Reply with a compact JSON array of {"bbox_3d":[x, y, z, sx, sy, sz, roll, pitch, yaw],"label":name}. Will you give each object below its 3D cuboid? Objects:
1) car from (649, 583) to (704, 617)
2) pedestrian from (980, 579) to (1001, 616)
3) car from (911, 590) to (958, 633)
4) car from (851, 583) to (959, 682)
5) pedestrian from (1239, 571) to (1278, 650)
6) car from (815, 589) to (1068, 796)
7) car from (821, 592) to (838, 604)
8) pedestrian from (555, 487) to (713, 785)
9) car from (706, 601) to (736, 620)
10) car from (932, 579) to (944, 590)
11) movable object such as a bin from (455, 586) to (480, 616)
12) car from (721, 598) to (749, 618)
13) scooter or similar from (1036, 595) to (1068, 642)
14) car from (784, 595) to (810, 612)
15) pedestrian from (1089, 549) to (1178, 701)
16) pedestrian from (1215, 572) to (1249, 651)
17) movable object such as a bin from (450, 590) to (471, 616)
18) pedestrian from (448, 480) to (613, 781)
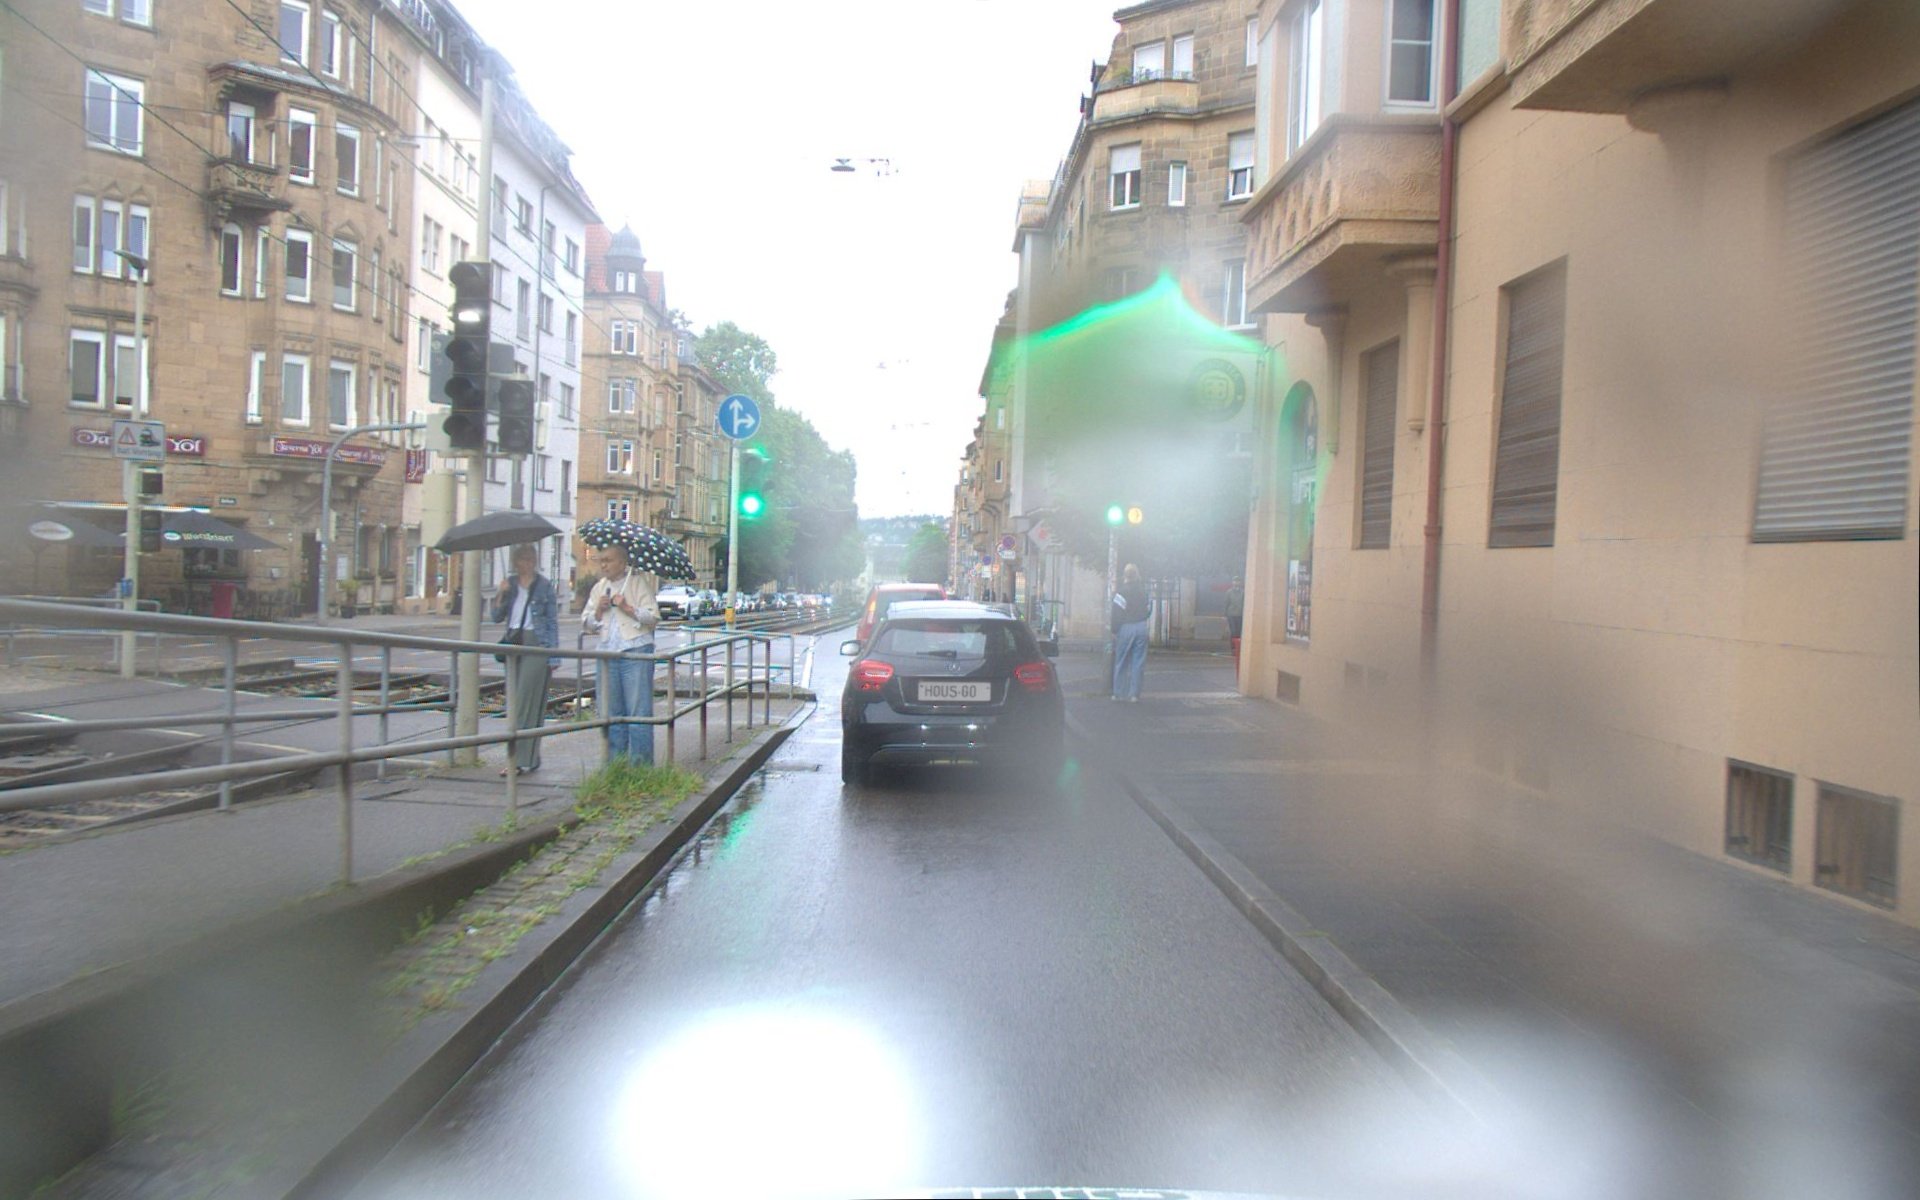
[{"bbox_3d":[-14.148,0.027,82.797,1.953,1.656,5.251,0,-1,-1],"label":"car"},{"bbox_3d":[1.487,-0.127,80.469,0.926,1.800,1.014,1,0,-3],"label":"pedestrian"},{"bbox_3d":[-0.988,0.440,64.172,1.729,1.586,4.744,0,0,-1],"label":"car"},{"bbox_3d":[-0.958,0.489,27.349,1.617,1.477,3.997,2,0,-3],"label":"car"},{"bbox_3d":[6.942,0.247,38.532,0.668,1.820,0.901,-1,0,-5],"label":"pedestrian"},{"bbox_3d":[-0.111,0.673,14.201,1.828,1.477,4.000,2,0,1],"label":"car"},{"bbox_3d":[-15.380,-0.267,194.816,1.660,1.413,3.481,0,0,1],"label":"car"},{"bbox_3d":[-2.342,0.248,12.009,0.907,2.049,0.947,2,0,-1],"label":"pedestrian"},{"bbox_3d":[-16.934,0.712,117.201,1.537,1.339,3.481,0,0,1],"label":"car"},{"bbox_3d":[-2.897,-1.965,216.126,1.581,1.340,3.999,2,0,-1],"label":"car"},{"bbox_3d":[-18.849,0.028,63.295,0.698,1.092,0.687,4,0,-2],"label":"movable object such as a bin"},{"bbox_3d":[-16.663,0.584,122.646,1.537,1.438,3.481,0,0,1],"label":"car"},{"bbox_3d":[2.434,0.482,43.951,0.625,1.231,1.551,0,0,-5],"label":"scooter or similar"},{"bbox_3d":[-13.996,0.309,142.190,1.908,1.421,4.273,0,0,-1],"label":"car"},{"bbox_3d":[2.212,0.313,21.217,0.882,1.872,0.967,-2,0,-6],"label":"pedestrian"},{"bbox_3d":[6.310,0.264,38.407,0.582,1.820,0.890,-1,0,-5],"label":"pedestrian"},{"bbox_3d":[-18.913,0.117,62.646,0.582,0.927,0.560,4,0,-2],"label":"movable object such as a bin"},{"bbox_3d":[-3.064,0.211,11.890,0.879,2.049,0.947,2,0,-1],"label":"pedestrian"}]
